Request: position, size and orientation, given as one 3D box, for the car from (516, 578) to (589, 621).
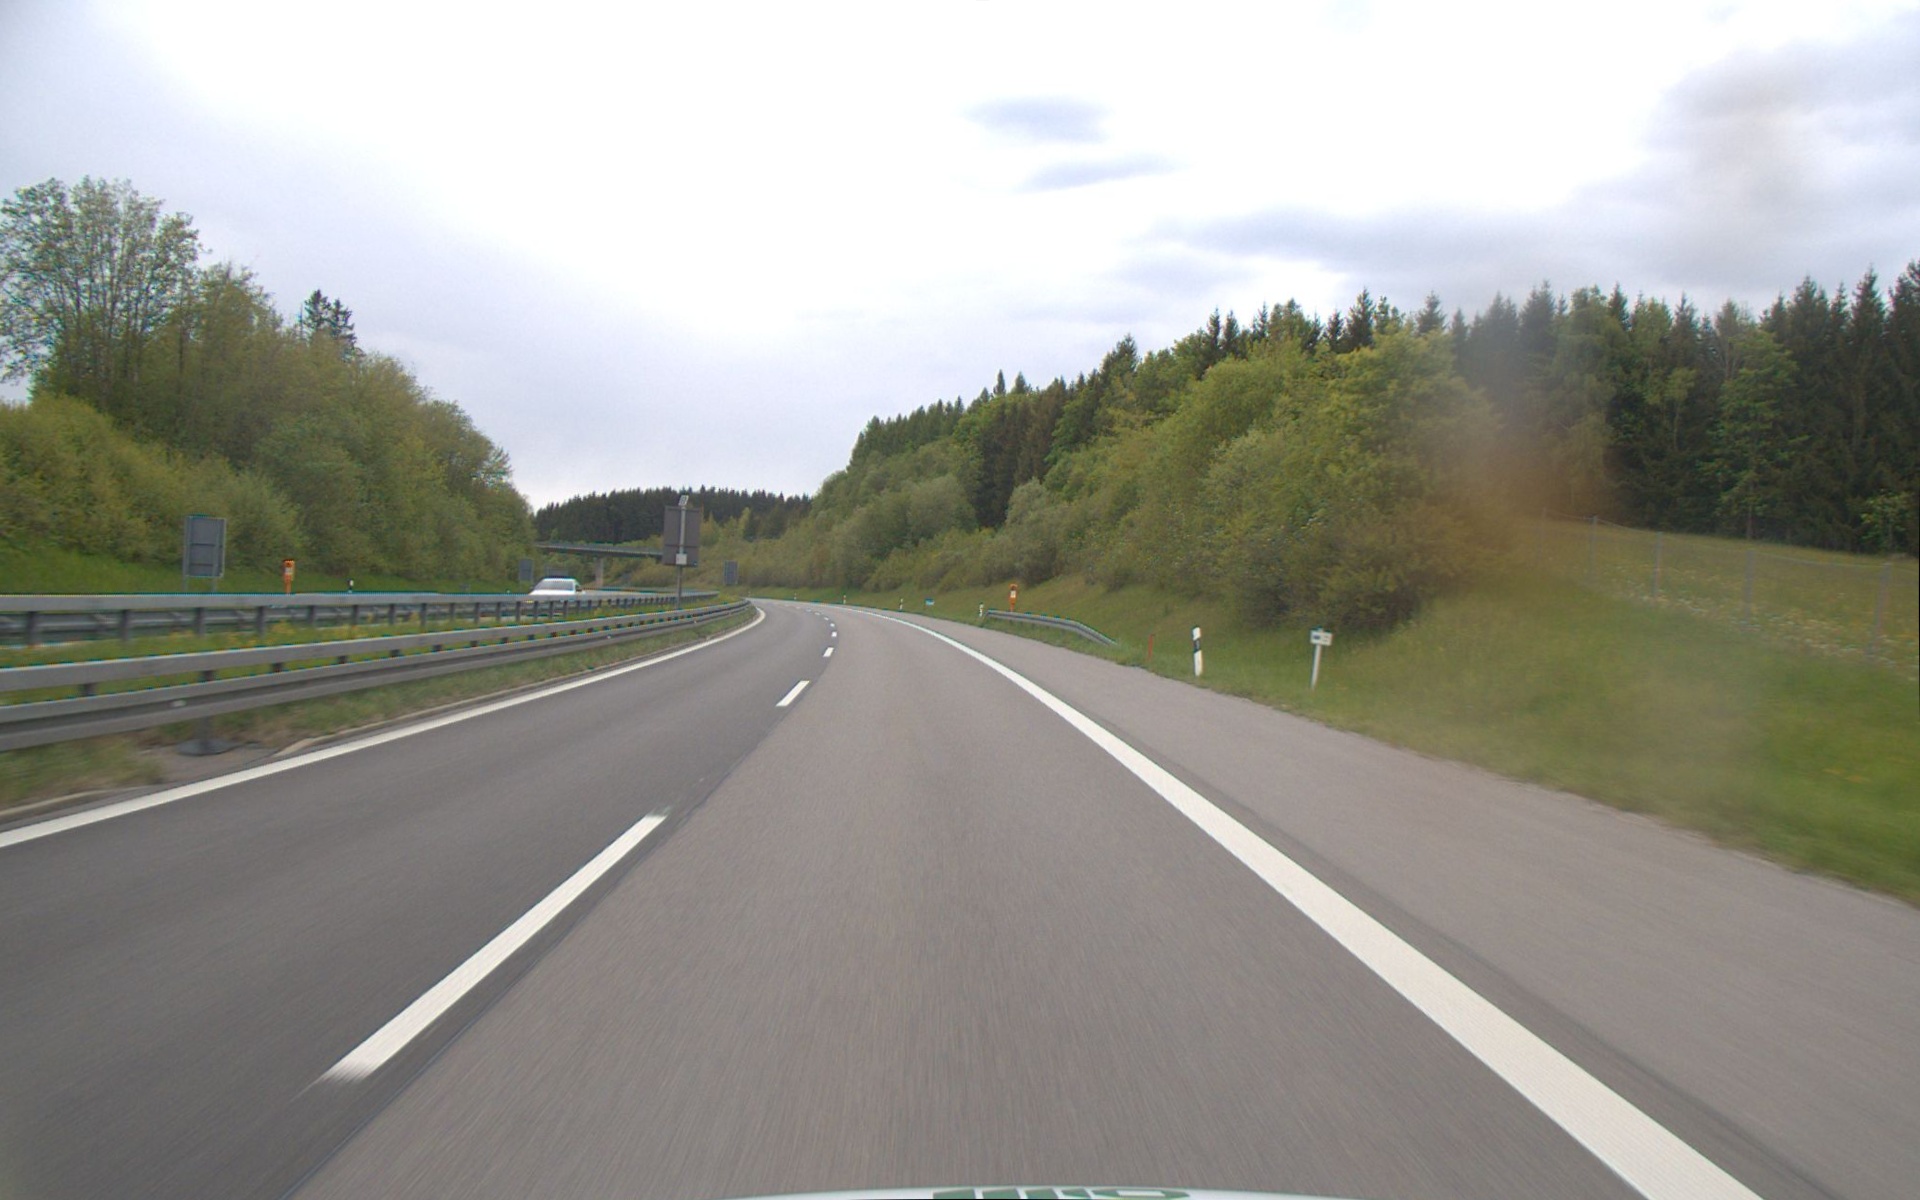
[{"bbox_3d":[-15.724,-0.058,64.075,1.955,1.453,4.459,4,1,-5],"label":"car"}]
